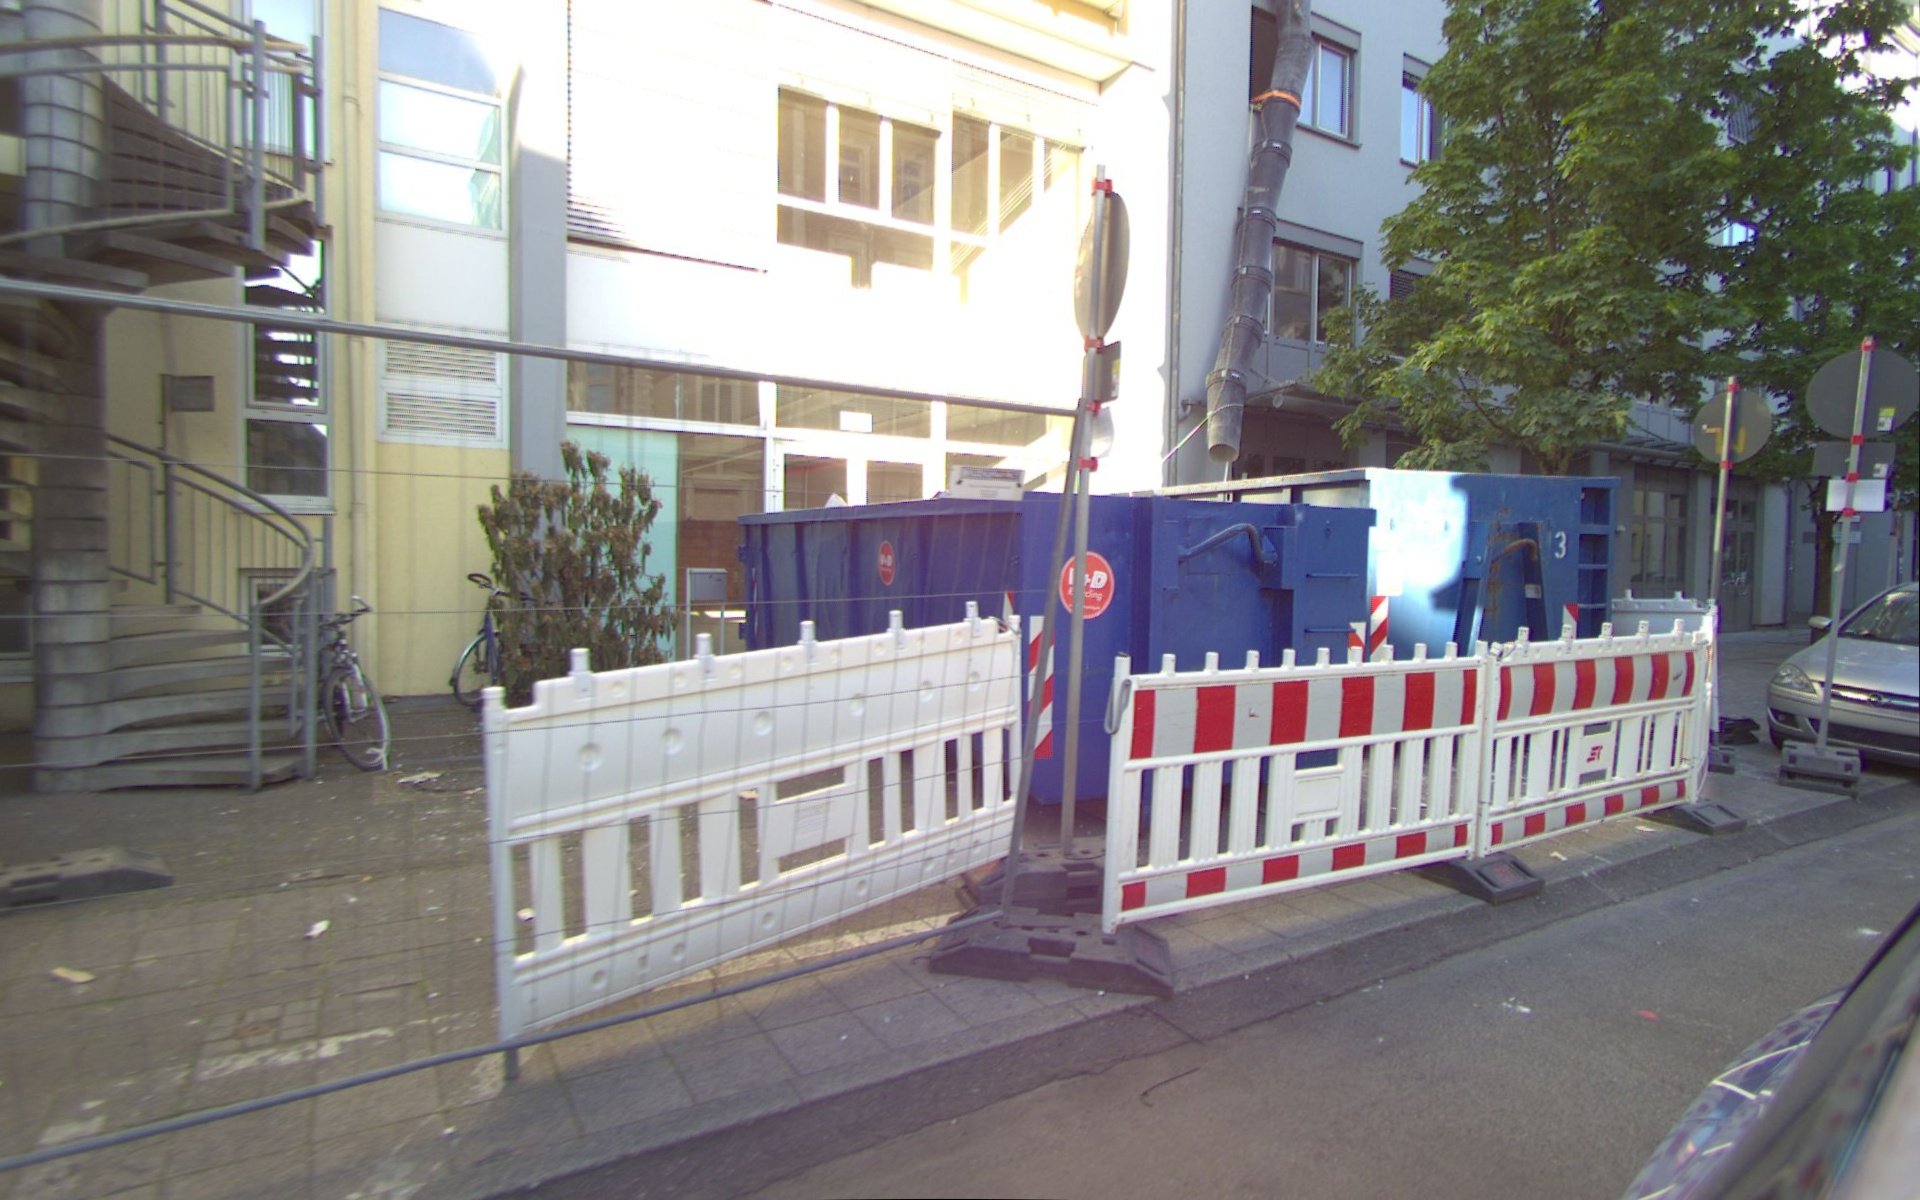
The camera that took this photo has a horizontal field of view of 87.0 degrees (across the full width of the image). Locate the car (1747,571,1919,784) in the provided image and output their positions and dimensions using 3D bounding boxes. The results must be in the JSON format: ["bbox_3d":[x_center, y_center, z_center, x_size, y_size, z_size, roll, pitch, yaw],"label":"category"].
[{"bbox_3d":[8.323,0.517,8.166,3.984,1.465,1.642,-1,2,-29],"label":"car"}]

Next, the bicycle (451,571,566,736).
[{"bbox_3d":[-3.879,0.380,8.609,0.553,1.181,1.890,-1,4,-35],"label":"bicycle"}]

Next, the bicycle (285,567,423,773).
[{"bbox_3d":[-4.285,0.420,7.110,0.540,1.284,1.648,-1,1,-41],"label":"bicycle"}]
